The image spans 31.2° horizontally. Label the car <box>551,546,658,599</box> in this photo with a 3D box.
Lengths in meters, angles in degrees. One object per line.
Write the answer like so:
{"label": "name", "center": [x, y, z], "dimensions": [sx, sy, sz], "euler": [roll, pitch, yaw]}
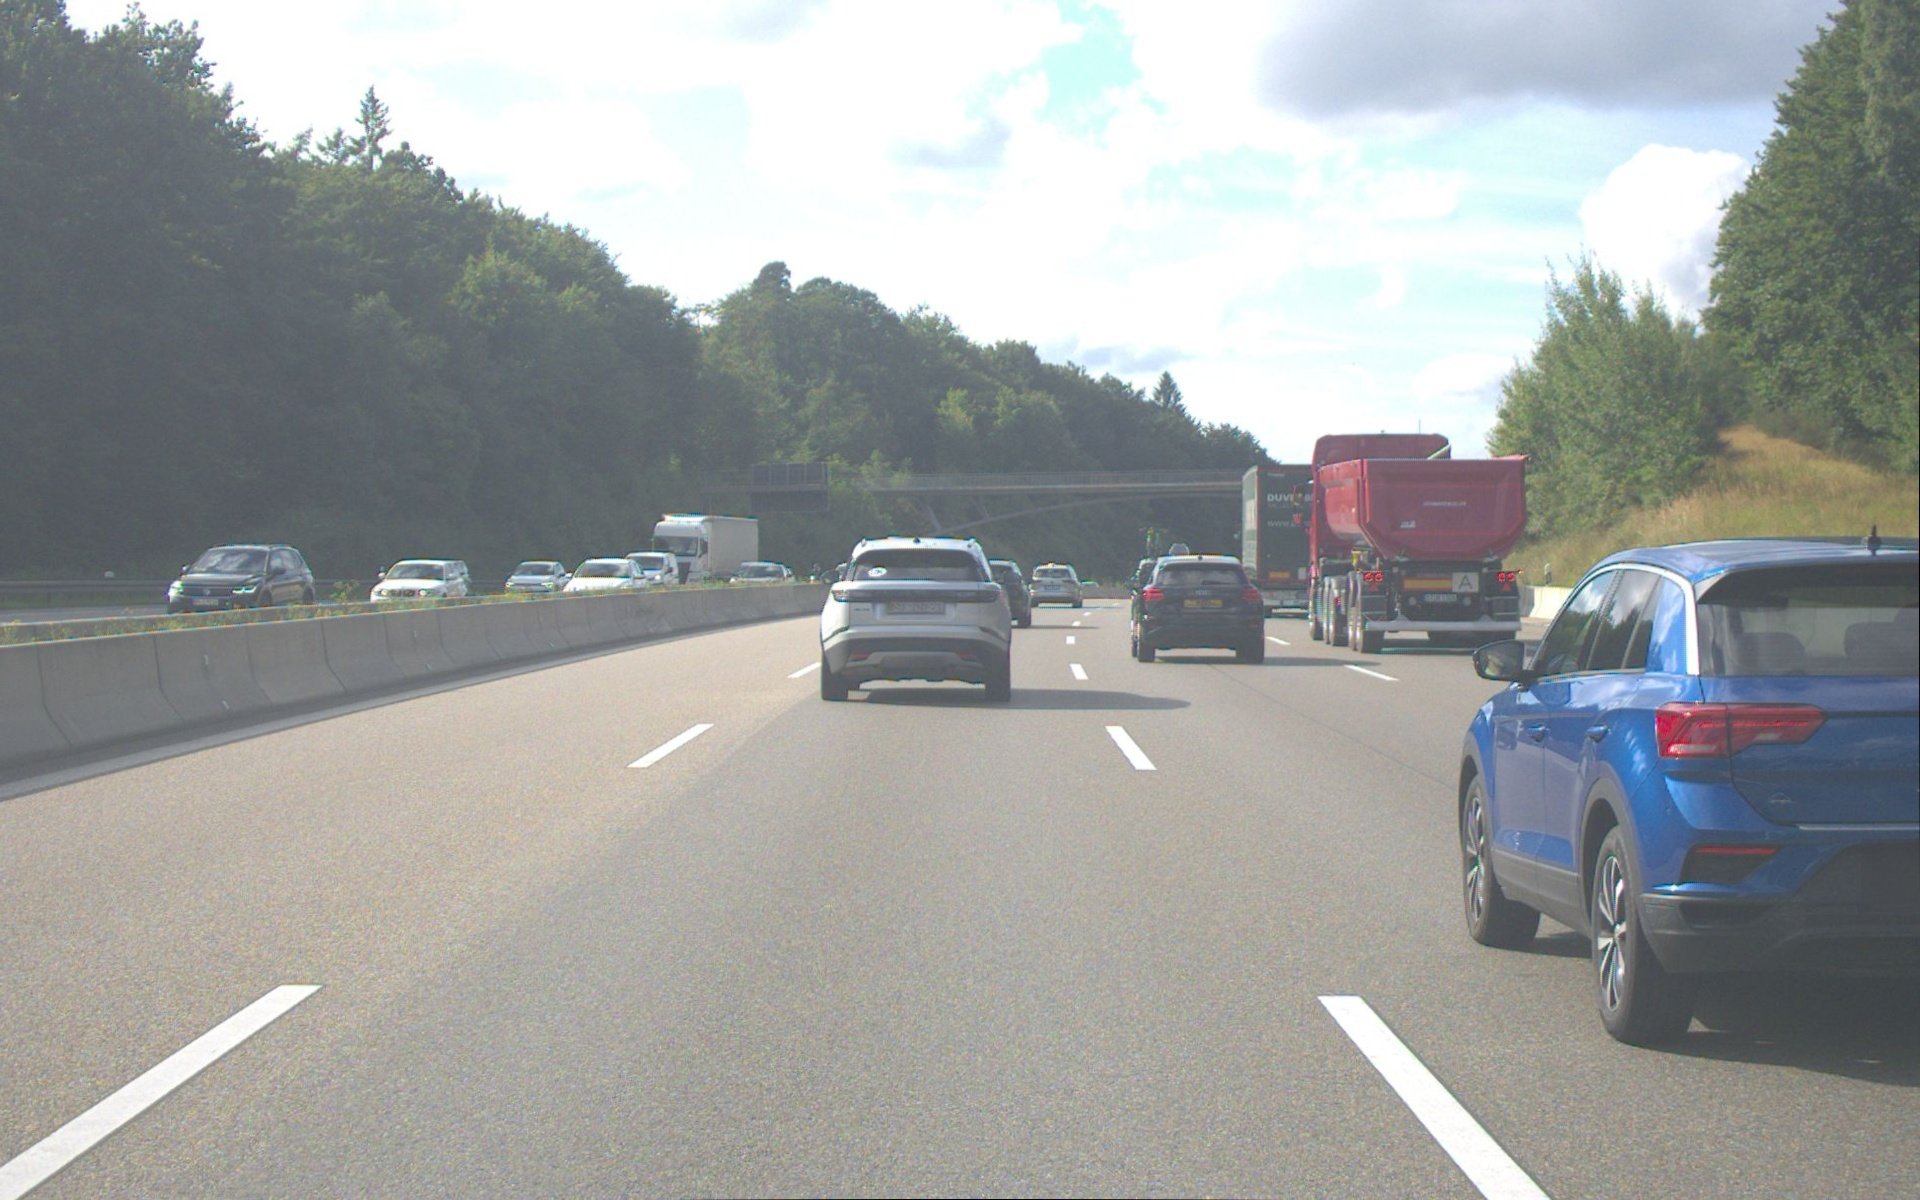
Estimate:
{"label": "car", "center": [-9.045, -0.713, 87.880], "dimensions": [1.994, 1.304, 4.832], "euler": [1, 1, 3]}

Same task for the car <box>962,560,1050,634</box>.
{"label": "car", "center": [1.042, -0.086, 75.490], "dimensions": [1.822, 1.541, 4.000], "euler": [1, 1, 2]}

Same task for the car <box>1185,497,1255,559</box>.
{"label": "car", "center": [7.966, -2.189, 105.589], "dimensions": [1.893, 1.850, 4.100], "euler": [1, 1, 1]}

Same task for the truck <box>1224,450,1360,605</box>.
{"label": "truck", "center": [8.849, -1.933, 92.699], "dimensions": [3.119, 3.921, 10.410], "euler": [1, 1, 3]}

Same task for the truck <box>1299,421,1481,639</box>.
{"label": "truck", "center": [7.625, -1.243, 61.639], "dimensions": [2.710, 3.706, 5.817], "euler": [0, 1, 2]}

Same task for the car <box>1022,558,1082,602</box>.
{"label": "car", "center": [3.162, -0.691, 117.653], "dimensions": [1.822, 1.452, 3.999], "euler": [0, 0, 5]}

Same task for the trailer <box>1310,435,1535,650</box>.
{"label": "trailer", "center": [7.459, -0.948, 56.608], "dimensions": [2.710, 3.220, 9.732], "euler": [0, 1, 2]}

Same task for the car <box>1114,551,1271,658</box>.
{"label": "car", "center": [3.305, 0.037, 49.463], "dimensions": [1.822, 1.452, 4.001], "euler": [0, 1, -2]}

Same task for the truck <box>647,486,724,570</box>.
{"label": "truck", "center": [-13.509, -3.547, 169.777], "dimensions": [2.707, 4.054, 6.597], "euler": [1, 1, 5]}

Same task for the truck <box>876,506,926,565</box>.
{"label": "truck", "center": [-3.770, -4.164, 222.173], "dimensions": [2.776, 3.797, 7.134], "euler": [0, 1, 2]}

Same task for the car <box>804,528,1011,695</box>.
{"label": "car", "center": [-0.518, 0.067, 36.217], "dimensions": [2.006, 1.611, 5.301], "euler": [1, 1, 0]}

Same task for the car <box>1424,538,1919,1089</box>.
{"label": "car", "center": [2.804, 0.560, 11.762], "dimensions": [1.773, 1.525, 4.458], "euler": [0, 1, -1]}

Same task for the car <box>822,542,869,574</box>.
{"label": "car", "center": [-5.499, -2.018, 165.616], "dimensions": [1.848, 1.493, 4.128], "euler": [1, 1, 4]}

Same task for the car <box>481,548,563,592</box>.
{"label": "car", "center": [-15.170, -1.062, 119.365], "dimensions": [2.071, 1.468, 4.671], "euler": [1, 1, 2]}

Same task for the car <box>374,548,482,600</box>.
{"label": "car", "center": [-12.813, -0.640, 83.034], "dimensions": [1.647, 1.196, 4.439], "euler": [1, 1, 4]}

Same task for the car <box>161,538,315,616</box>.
{"label": "car", "center": [-14.199, -0.471, 67.871], "dimensions": [1.722, 1.474, 4.630], "euler": [1, 1, 5]}

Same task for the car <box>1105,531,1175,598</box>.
{"label": "car", "center": [5.108, -1.017, 97.800], "dimensions": [1.894, 1.850, 4.100], "euler": [0, 1, 2]}
